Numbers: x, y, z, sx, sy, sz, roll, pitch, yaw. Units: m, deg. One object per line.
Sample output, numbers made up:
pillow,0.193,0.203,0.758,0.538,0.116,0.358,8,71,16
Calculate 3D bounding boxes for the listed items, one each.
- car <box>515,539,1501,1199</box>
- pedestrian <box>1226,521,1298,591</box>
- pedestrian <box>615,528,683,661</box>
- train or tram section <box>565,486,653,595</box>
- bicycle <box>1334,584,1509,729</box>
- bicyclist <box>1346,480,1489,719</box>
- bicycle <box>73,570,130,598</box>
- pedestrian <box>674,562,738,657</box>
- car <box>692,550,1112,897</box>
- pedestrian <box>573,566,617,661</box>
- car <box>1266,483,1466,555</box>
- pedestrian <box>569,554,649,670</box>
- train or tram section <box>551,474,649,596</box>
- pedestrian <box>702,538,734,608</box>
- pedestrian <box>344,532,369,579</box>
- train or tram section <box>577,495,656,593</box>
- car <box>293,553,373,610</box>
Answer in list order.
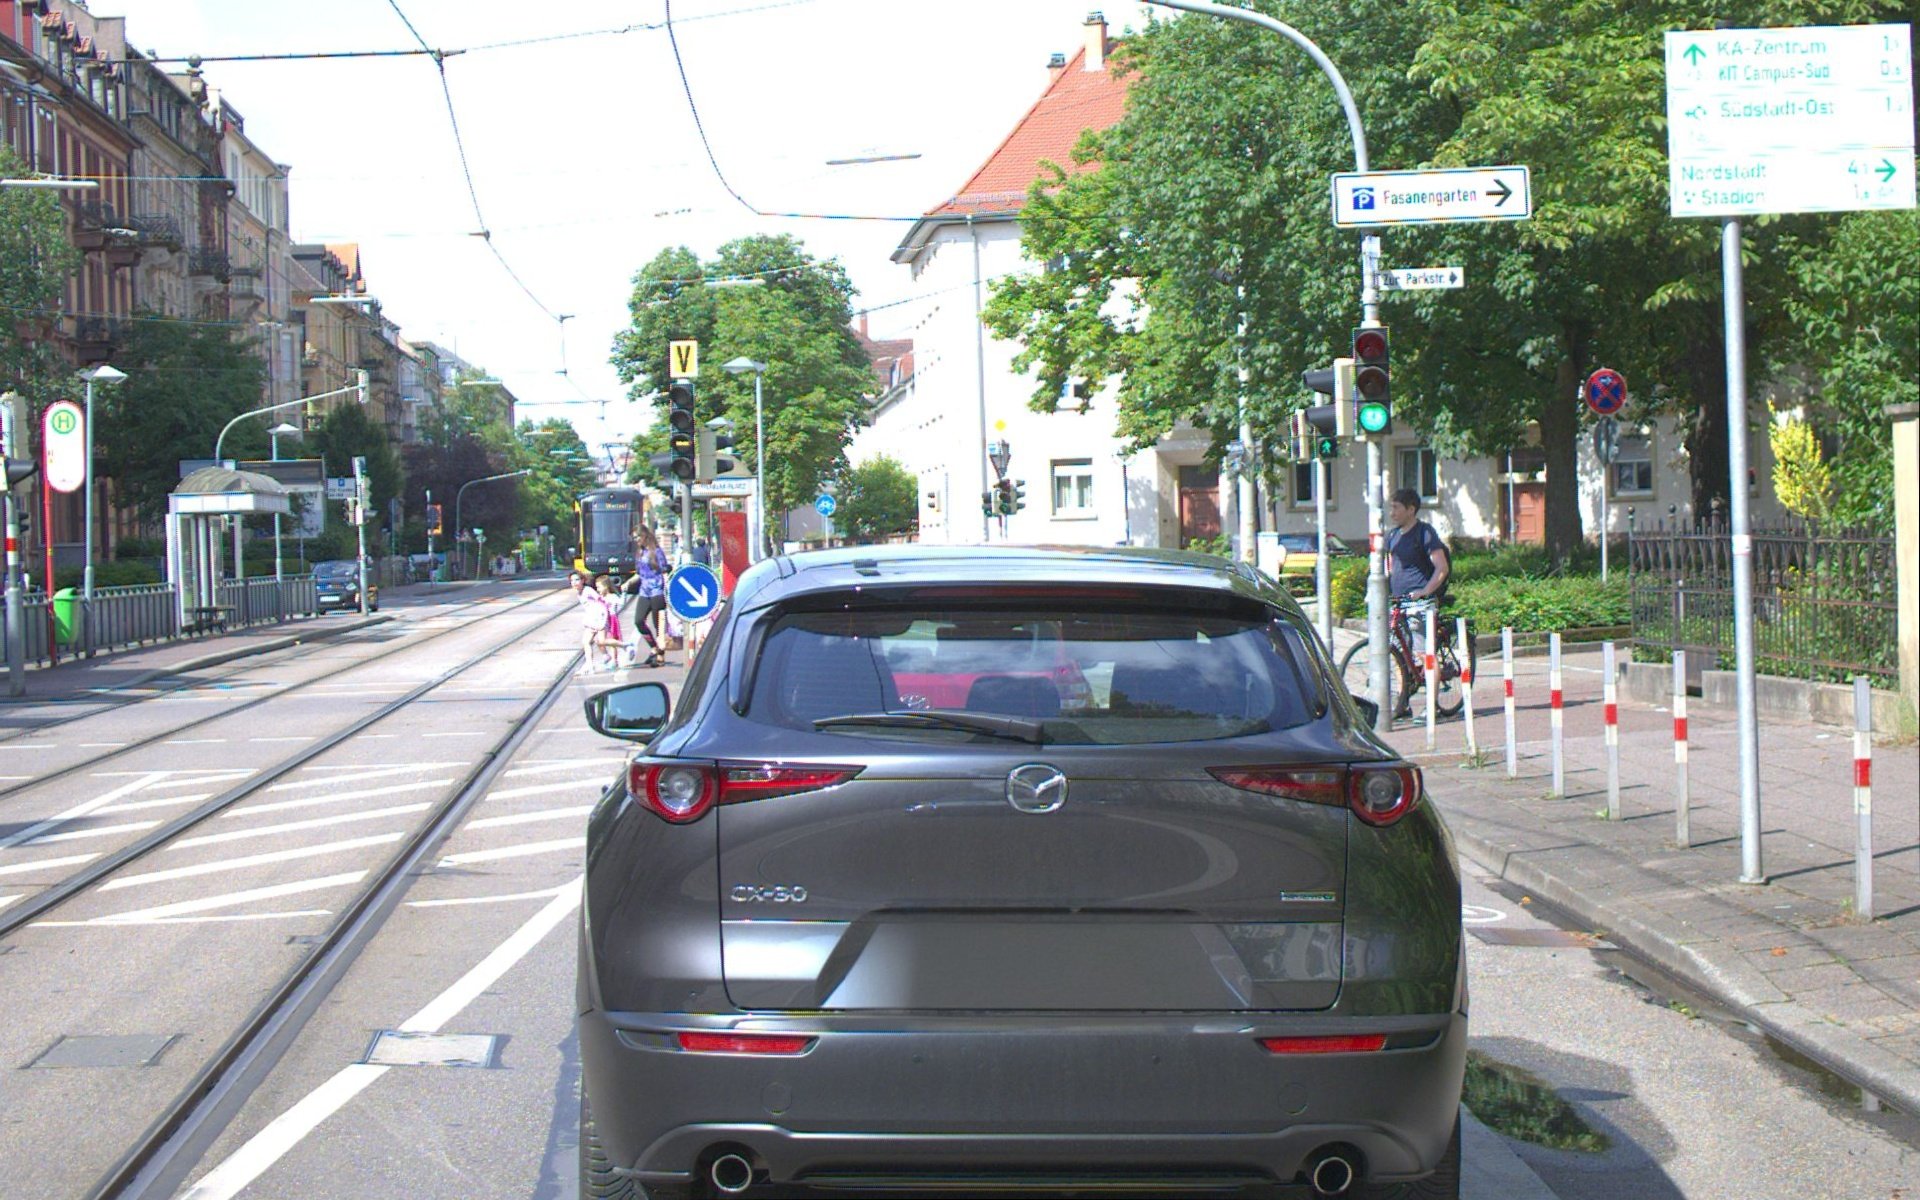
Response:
car,0.075,0.630,8.263,1.782,1.509,4.000,1,1,0
pedestrian,5.765,-0.838,65.703,1.192,1.264,0.558,-4,1,-9
pedestrian,-3.736,-0.074,41.297,0.728,1.560,0.799,-2,1,-9
train or tram section,-13.587,-2.212,133.884,2.997,3.970,13.811,-2,0,-5
bicycle,3.630,0.430,26.928,0.389,1.032,1.841,-1,2,40
bicyclist,3.559,-0.012,26.777,0.733,1.813,0.820,-2,1,-27
bicycle,-23.523,-0.441,94.257,0.386,0.745,1.708,-1,1,32
pedestrian,-3.039,0.115,41.060,0.641,1.110,0.444,-2,1,-19
car,-0.278,0.497,16.493,1.775,1.459,3.843,0,1,-1
pedestrian,-4.397,0.158,41.383,0.437,1.104,0.423,-4,1,-9
car,9.308,-1.861,78.918,4.167,1.504,1.848,-1,3,38
pedestrian,-4.126,0.133,40.375,0.825,1.299,0.717,-4,1,-9
train or tram section,-12.477,-2.156,120.062,2.997,3.970,13.811,-2,0,-5
pedestrian,-5.344,-0.600,75.930,0.667,1.540,0.581,-1,1,-5
pedestrian,-21.961,-1.615,125.107,0.788,1.682,0.732,-1,1,-3
train or tram section,-14.668,-2.310,147.631,2.997,3.970,13.811,-2,0,-5
car,-16.605,-0.501,91.173,1.624,1.382,3.436,-3,1,-4
